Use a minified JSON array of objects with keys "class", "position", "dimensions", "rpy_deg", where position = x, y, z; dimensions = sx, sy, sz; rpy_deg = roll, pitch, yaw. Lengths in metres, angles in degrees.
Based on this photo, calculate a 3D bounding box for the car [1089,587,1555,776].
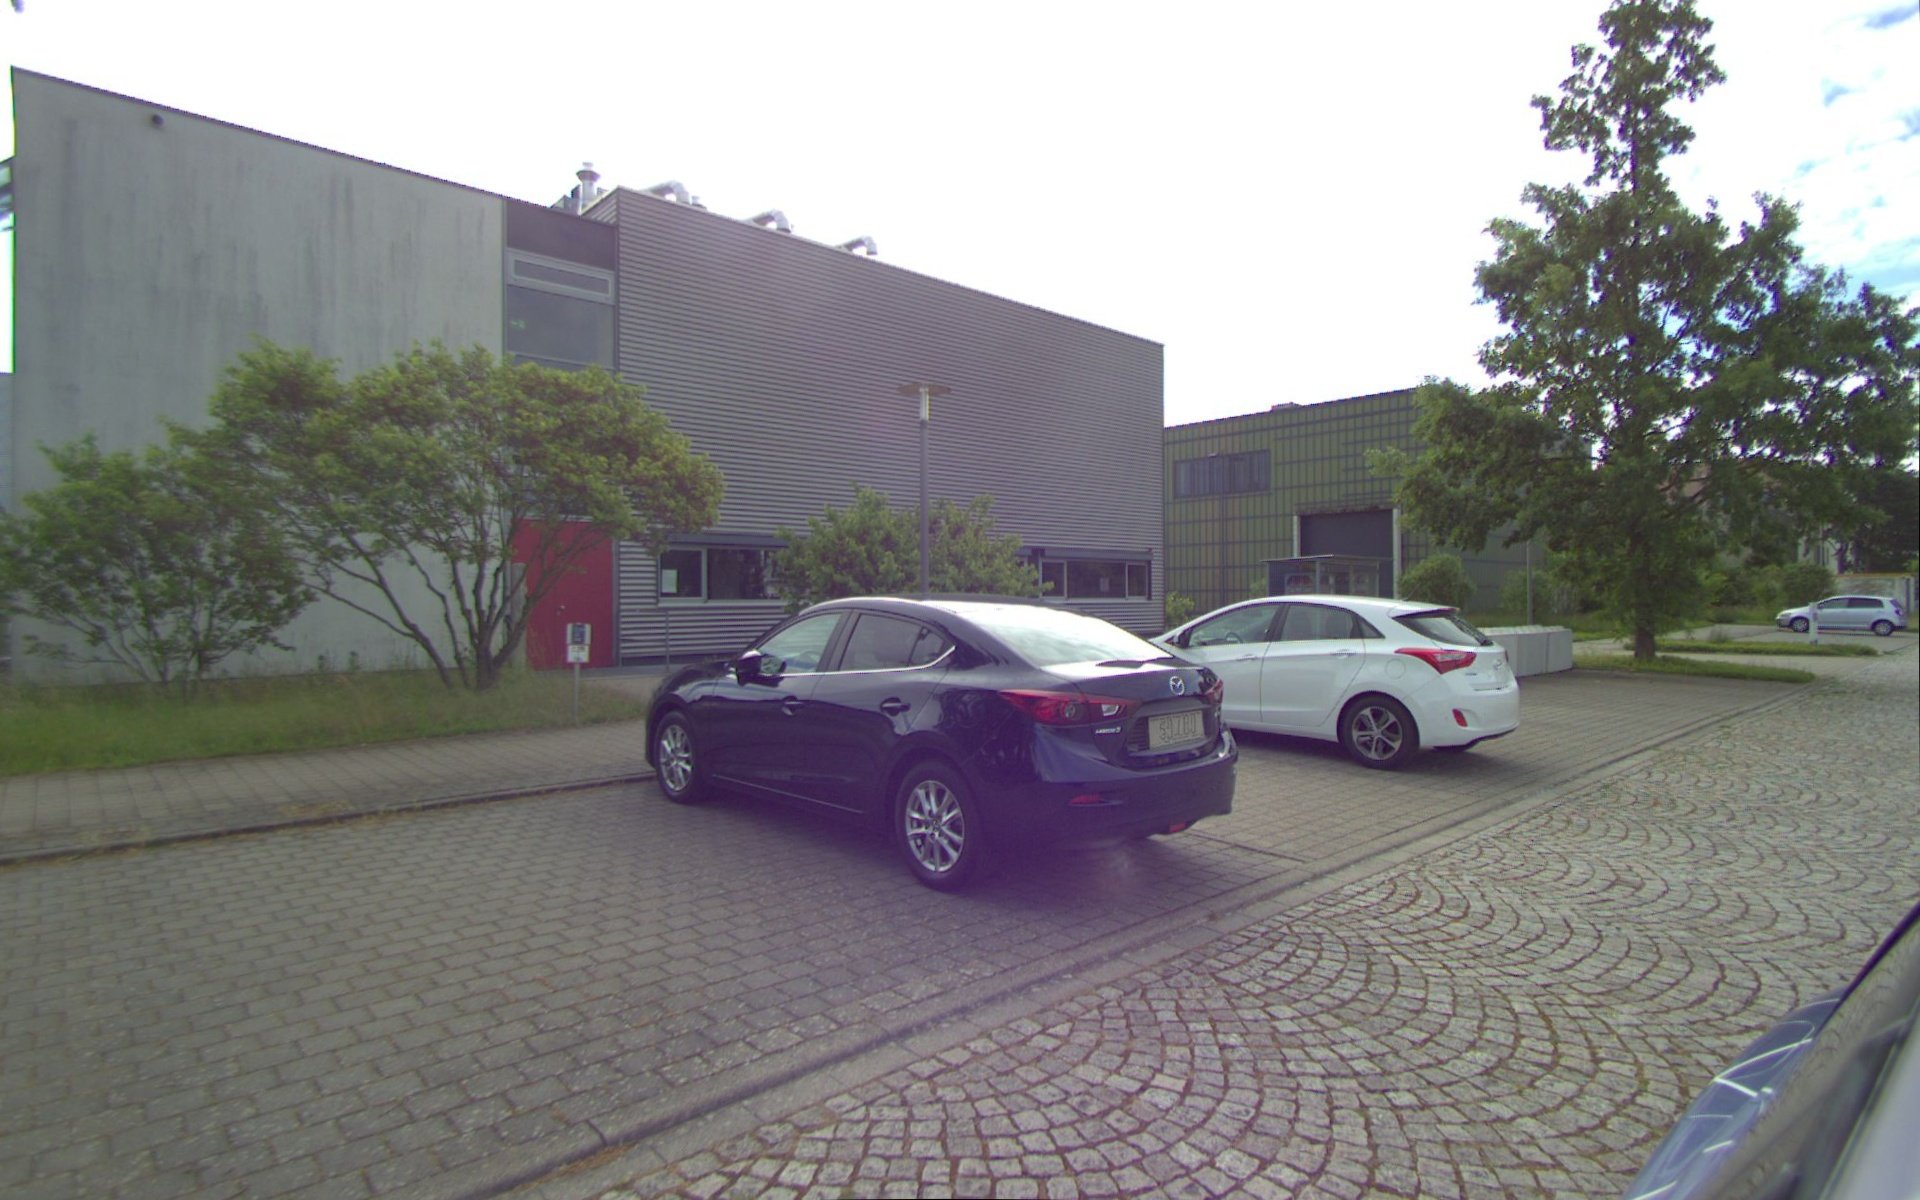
[{"class":"car","position":[3.406,0.621,10.045],"dimensions":[1.851,1.485,3.980],"rpy_deg":[0,0,-43]}]

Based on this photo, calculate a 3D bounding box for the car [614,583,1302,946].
[{"class":"car","position":[-0.352,0.652,6.494],"dimensions":[1.911,1.465,4.469],"rpy_deg":[0,1,-42]}]

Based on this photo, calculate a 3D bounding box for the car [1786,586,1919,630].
[{"class":"car","position":[36.404,0.288,41.207],"dimensions":[1.908,1.645,4.123],"rpy_deg":[-1,2,-45]}]
